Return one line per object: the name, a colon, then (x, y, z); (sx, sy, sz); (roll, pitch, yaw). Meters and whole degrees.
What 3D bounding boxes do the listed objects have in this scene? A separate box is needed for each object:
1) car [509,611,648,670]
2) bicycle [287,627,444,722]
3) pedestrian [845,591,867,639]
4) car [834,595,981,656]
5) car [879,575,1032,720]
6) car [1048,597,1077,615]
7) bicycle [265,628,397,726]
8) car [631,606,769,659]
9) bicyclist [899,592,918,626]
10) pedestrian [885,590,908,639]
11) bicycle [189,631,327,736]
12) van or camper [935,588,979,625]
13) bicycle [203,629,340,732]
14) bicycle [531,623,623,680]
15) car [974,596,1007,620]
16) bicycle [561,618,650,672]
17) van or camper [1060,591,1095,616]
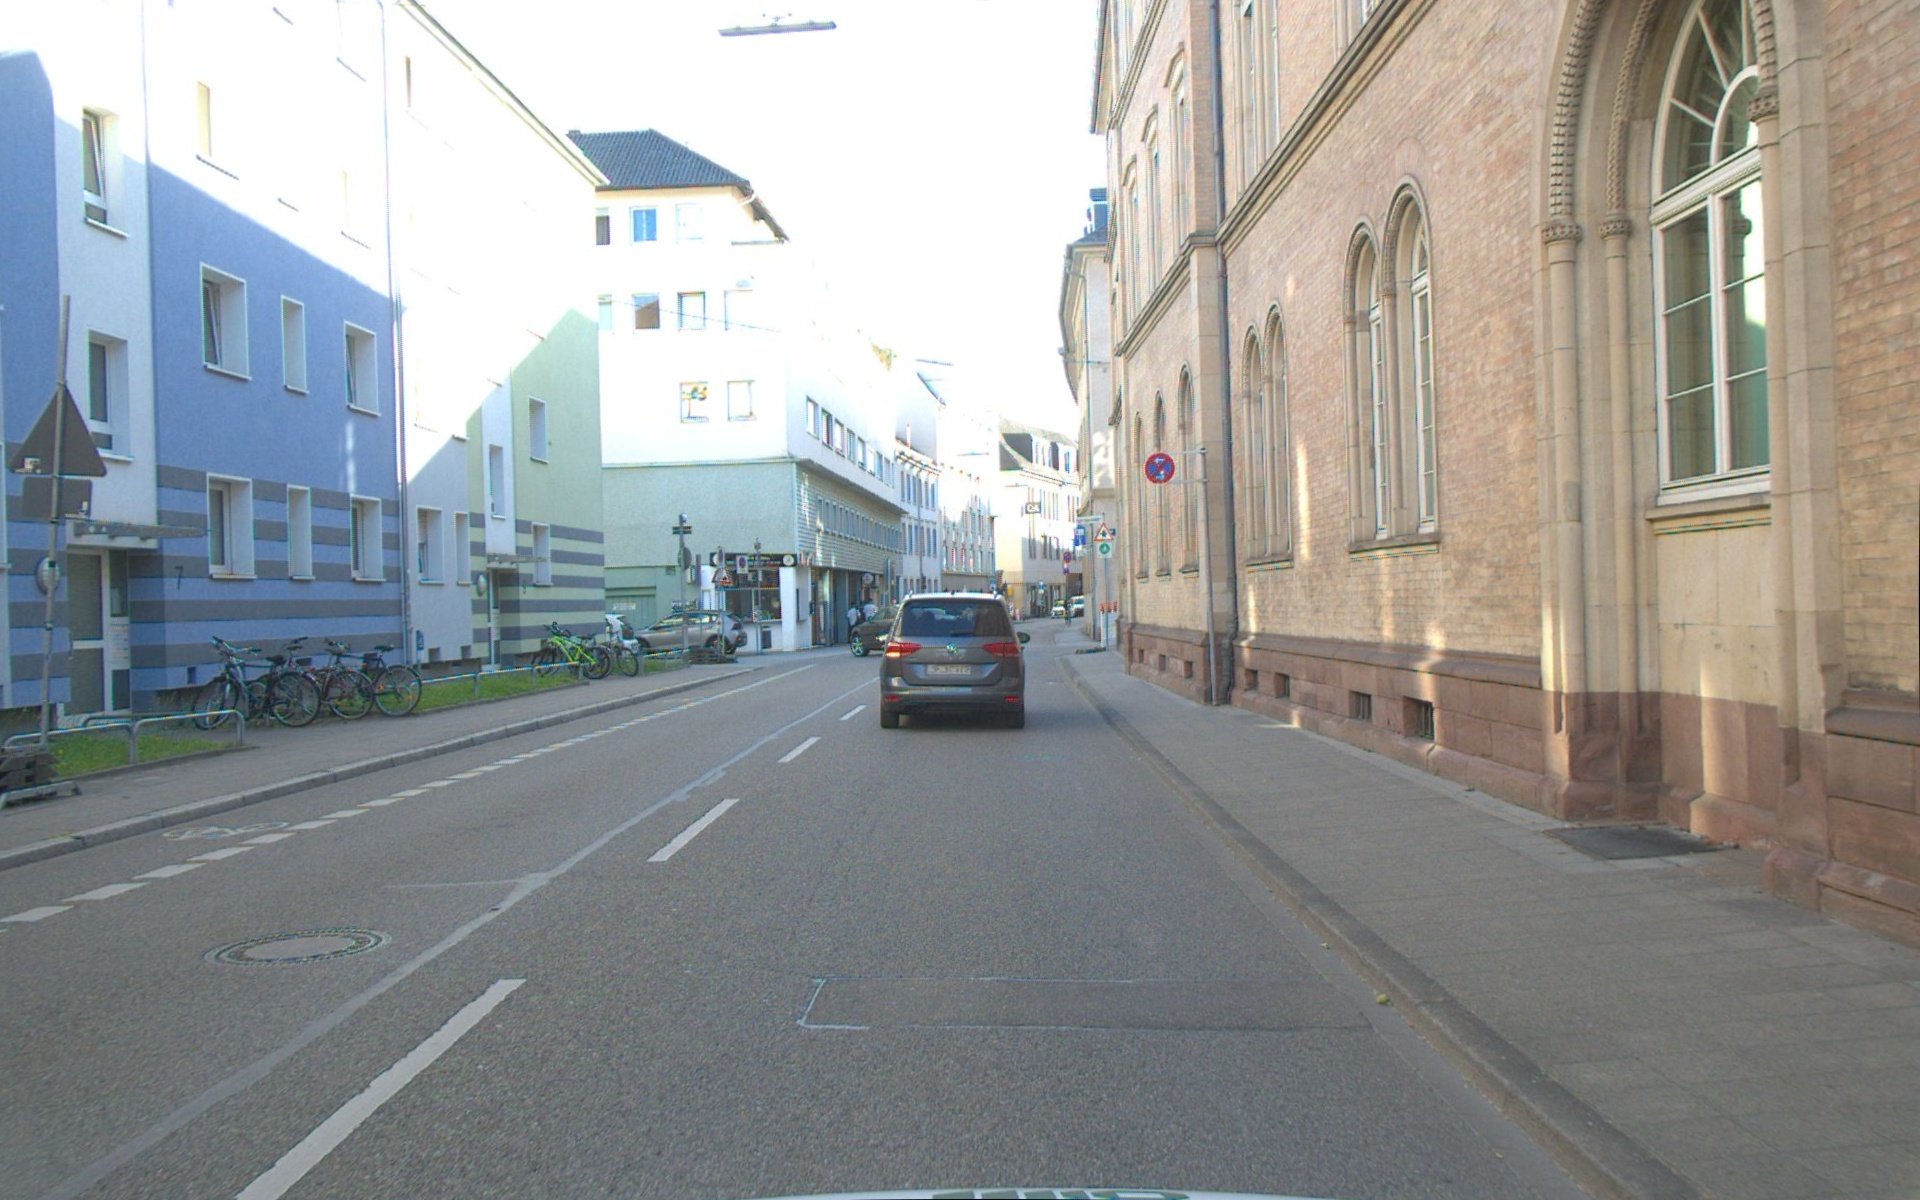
car: (-10.900, 1.154, 47.428); (3.427, 1.468, 1.814); (-3, 0, 3)
bicycle: (-8.434, 1.052, 23.511); (1.967, 1.253, 0.623); (-2, 0, -1)
pedestrian: (-4.121, 0.601, 65.529); (0.544, 1.861, 0.730); (-2, 0, 25)
car: (-1.549, 0.730, 46.844); (1.977, 1.568, 4.572); (-2, 0, -35)
car: (-0.027, 0.543, 20.945); (1.726, 1.635, 4.000); (1, 0, 1)
car: (8.882, 0.521, 143.005); (1.697, 1.493, 4.003); (-2, 0, 16)
bicycle: (-8.660, 1.056, 22.795); (1.606, 1.263, 0.467); (-2, 0, -1)
car: (-8.335, 1.037, 53.229); (4.012, 1.468, 1.949); (-3, 0, 3)
bicyclist: (-2.409, 0.424, 77.688); (0.813, 1.589, 0.760); (-2, 0, 1)
pedestrian: (-2.486, 0.562, 64.600); (0.544, 1.861, 0.730); (-2, 0, 25)
bicycle: (-8.959, 1.062, 21.127); (1.547, 1.263, 0.384); (-2, 0, -1)
van or camper: (-0.161, 0.352, 96.808); (1.951, 2.049, 4.486); (-2, 0, 8)
bicycle: (-8.960, 1.041, 21.545); (1.552, 1.263, 0.449); (-2, 0, -1)
bicycle: (-8.276, 1.117, 35.762); (1.896, 1.200, 0.611); (1, -1, -14)
car: (2.125, 0.543, 112.933); (1.826, 1.494, 3.836); (-2, 0, 7)
bicycle: (-7.965, 1.013, 37.226); (1.892, 1.200, 0.612); (1, -1, -7)
van or camper: (10.560, 0.306, 148.692); (1.951, 2.049, 5.001); (-2, 0, 17)
